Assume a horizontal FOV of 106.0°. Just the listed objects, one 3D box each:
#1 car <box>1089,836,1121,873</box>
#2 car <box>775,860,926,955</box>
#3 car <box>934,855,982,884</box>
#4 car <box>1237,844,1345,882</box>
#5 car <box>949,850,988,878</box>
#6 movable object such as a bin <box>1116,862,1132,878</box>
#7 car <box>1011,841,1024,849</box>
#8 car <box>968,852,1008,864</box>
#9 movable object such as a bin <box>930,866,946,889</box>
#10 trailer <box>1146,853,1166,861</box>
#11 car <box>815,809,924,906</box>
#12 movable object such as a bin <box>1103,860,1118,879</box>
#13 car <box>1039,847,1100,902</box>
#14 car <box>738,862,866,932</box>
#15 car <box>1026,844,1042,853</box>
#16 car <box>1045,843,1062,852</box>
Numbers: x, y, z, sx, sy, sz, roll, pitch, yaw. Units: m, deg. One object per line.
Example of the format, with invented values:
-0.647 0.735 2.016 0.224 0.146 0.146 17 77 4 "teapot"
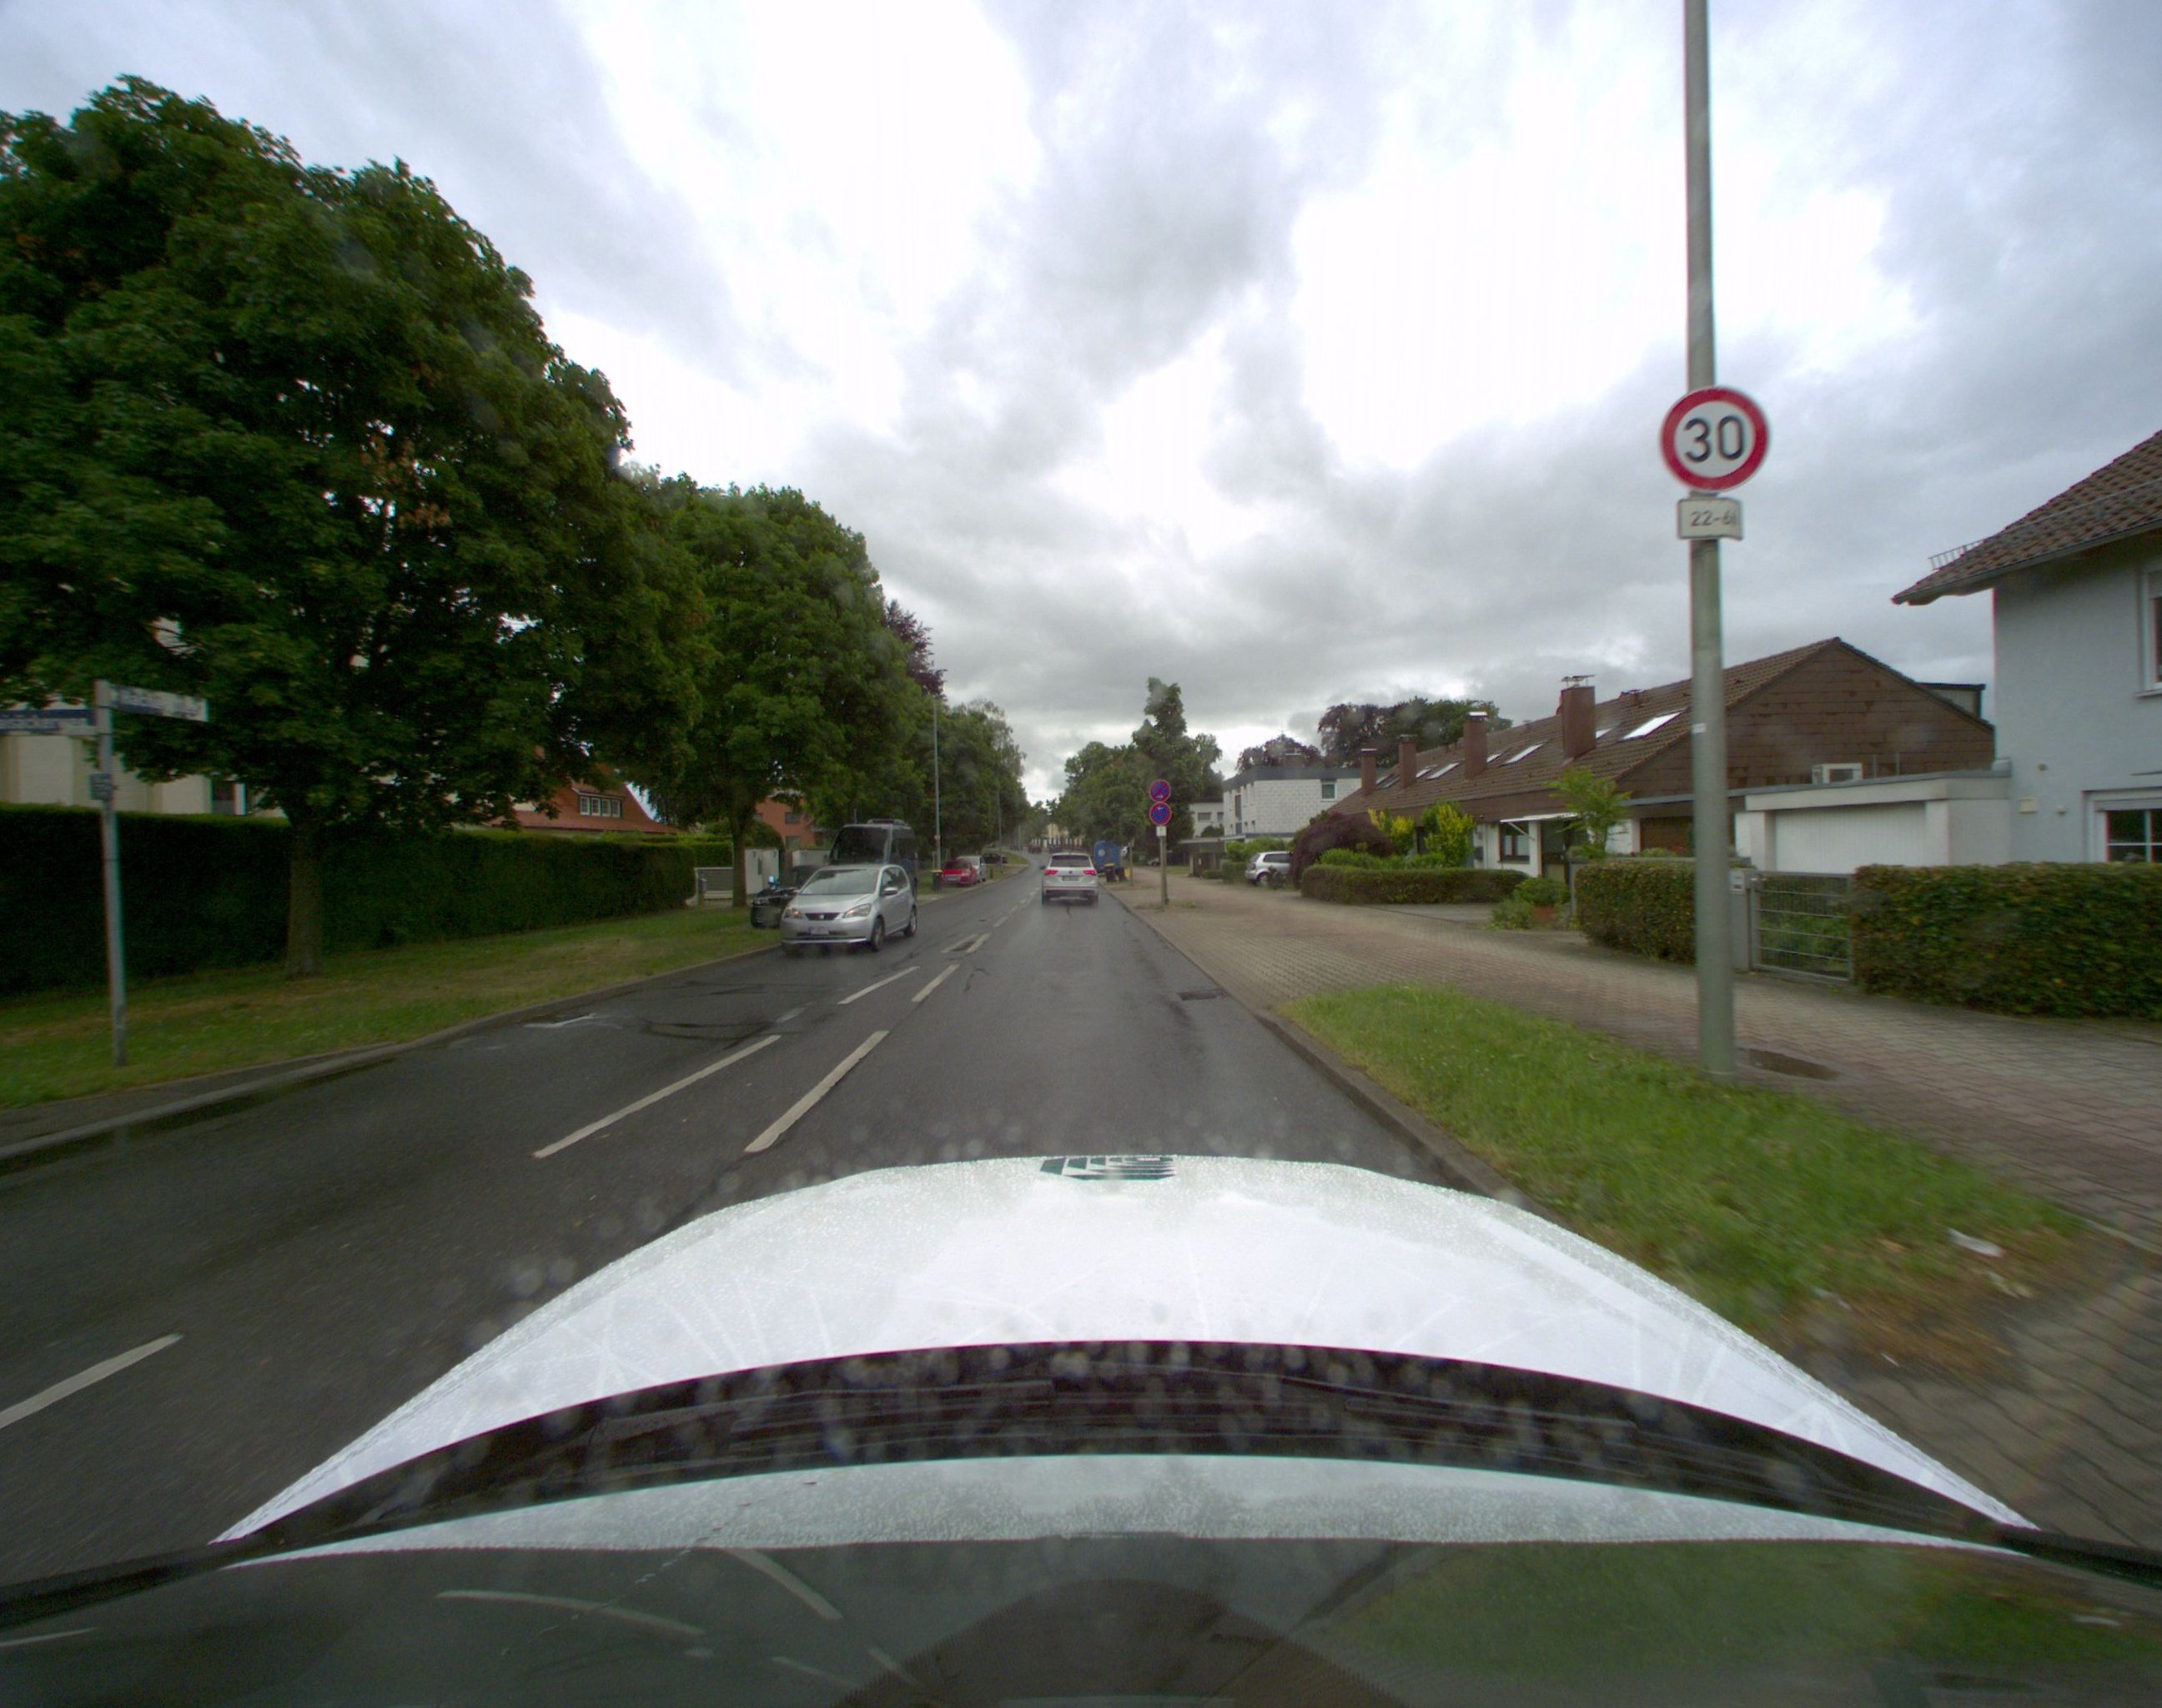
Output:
1.773 0.007 62.474 1.988 2.586 5.630 -3 1 -1 "car"
-4.062 0.882 14.925 1.587 1.464 3.455 -1 0 3 "car"
-6.537 0.802 43.777 1.988 1.403 4.554 -1 0 -2 "car"
8.700 0.365 33.905 3.978 1.442 1.845 -2 0 -3 "car"
-6.770 0.582 49.464 1.751 1.627 4.231 -1 0 0 "car"
2.426 0.892 45.513 0.653 0.800 0.604 -5 -1 24 "movable object such as a bin"
-12.060 -1.659 154.952 1.647 1.427 3.976 0 1 -18 "car"
-10.323 0.412 90.730 4.201 1.363 1.691 0 0 3 "car"
-6.120 0.992 34.949 0.555 0.953 0.550 -1 0 2 "movable object such as a bin"
7.904 0.327 85.501 2.034 0.883 1.365 0 0 1 "trailer"
-6.539 0.073 25.933 1.987 2.728 5.936 0 0 -1 "car"
1.677 0.886 46.093 0.608 1.015 0.565 -6 -2 24 "movable object such as a bin"
-0.411 0.624 27.354 1.860 1.650 3.998 -2 0 -2 "car"
-6.313 0.912 18.856 1.718 1.408 3.822 -1 -1 -2 "car"
-8.090 -1.005 139.811 1.647 1.427 3.976 0 1 -18 "car"
-4.555 -1.061 136.318 1.648 1.427 3.973 0 1 -20 "car"
